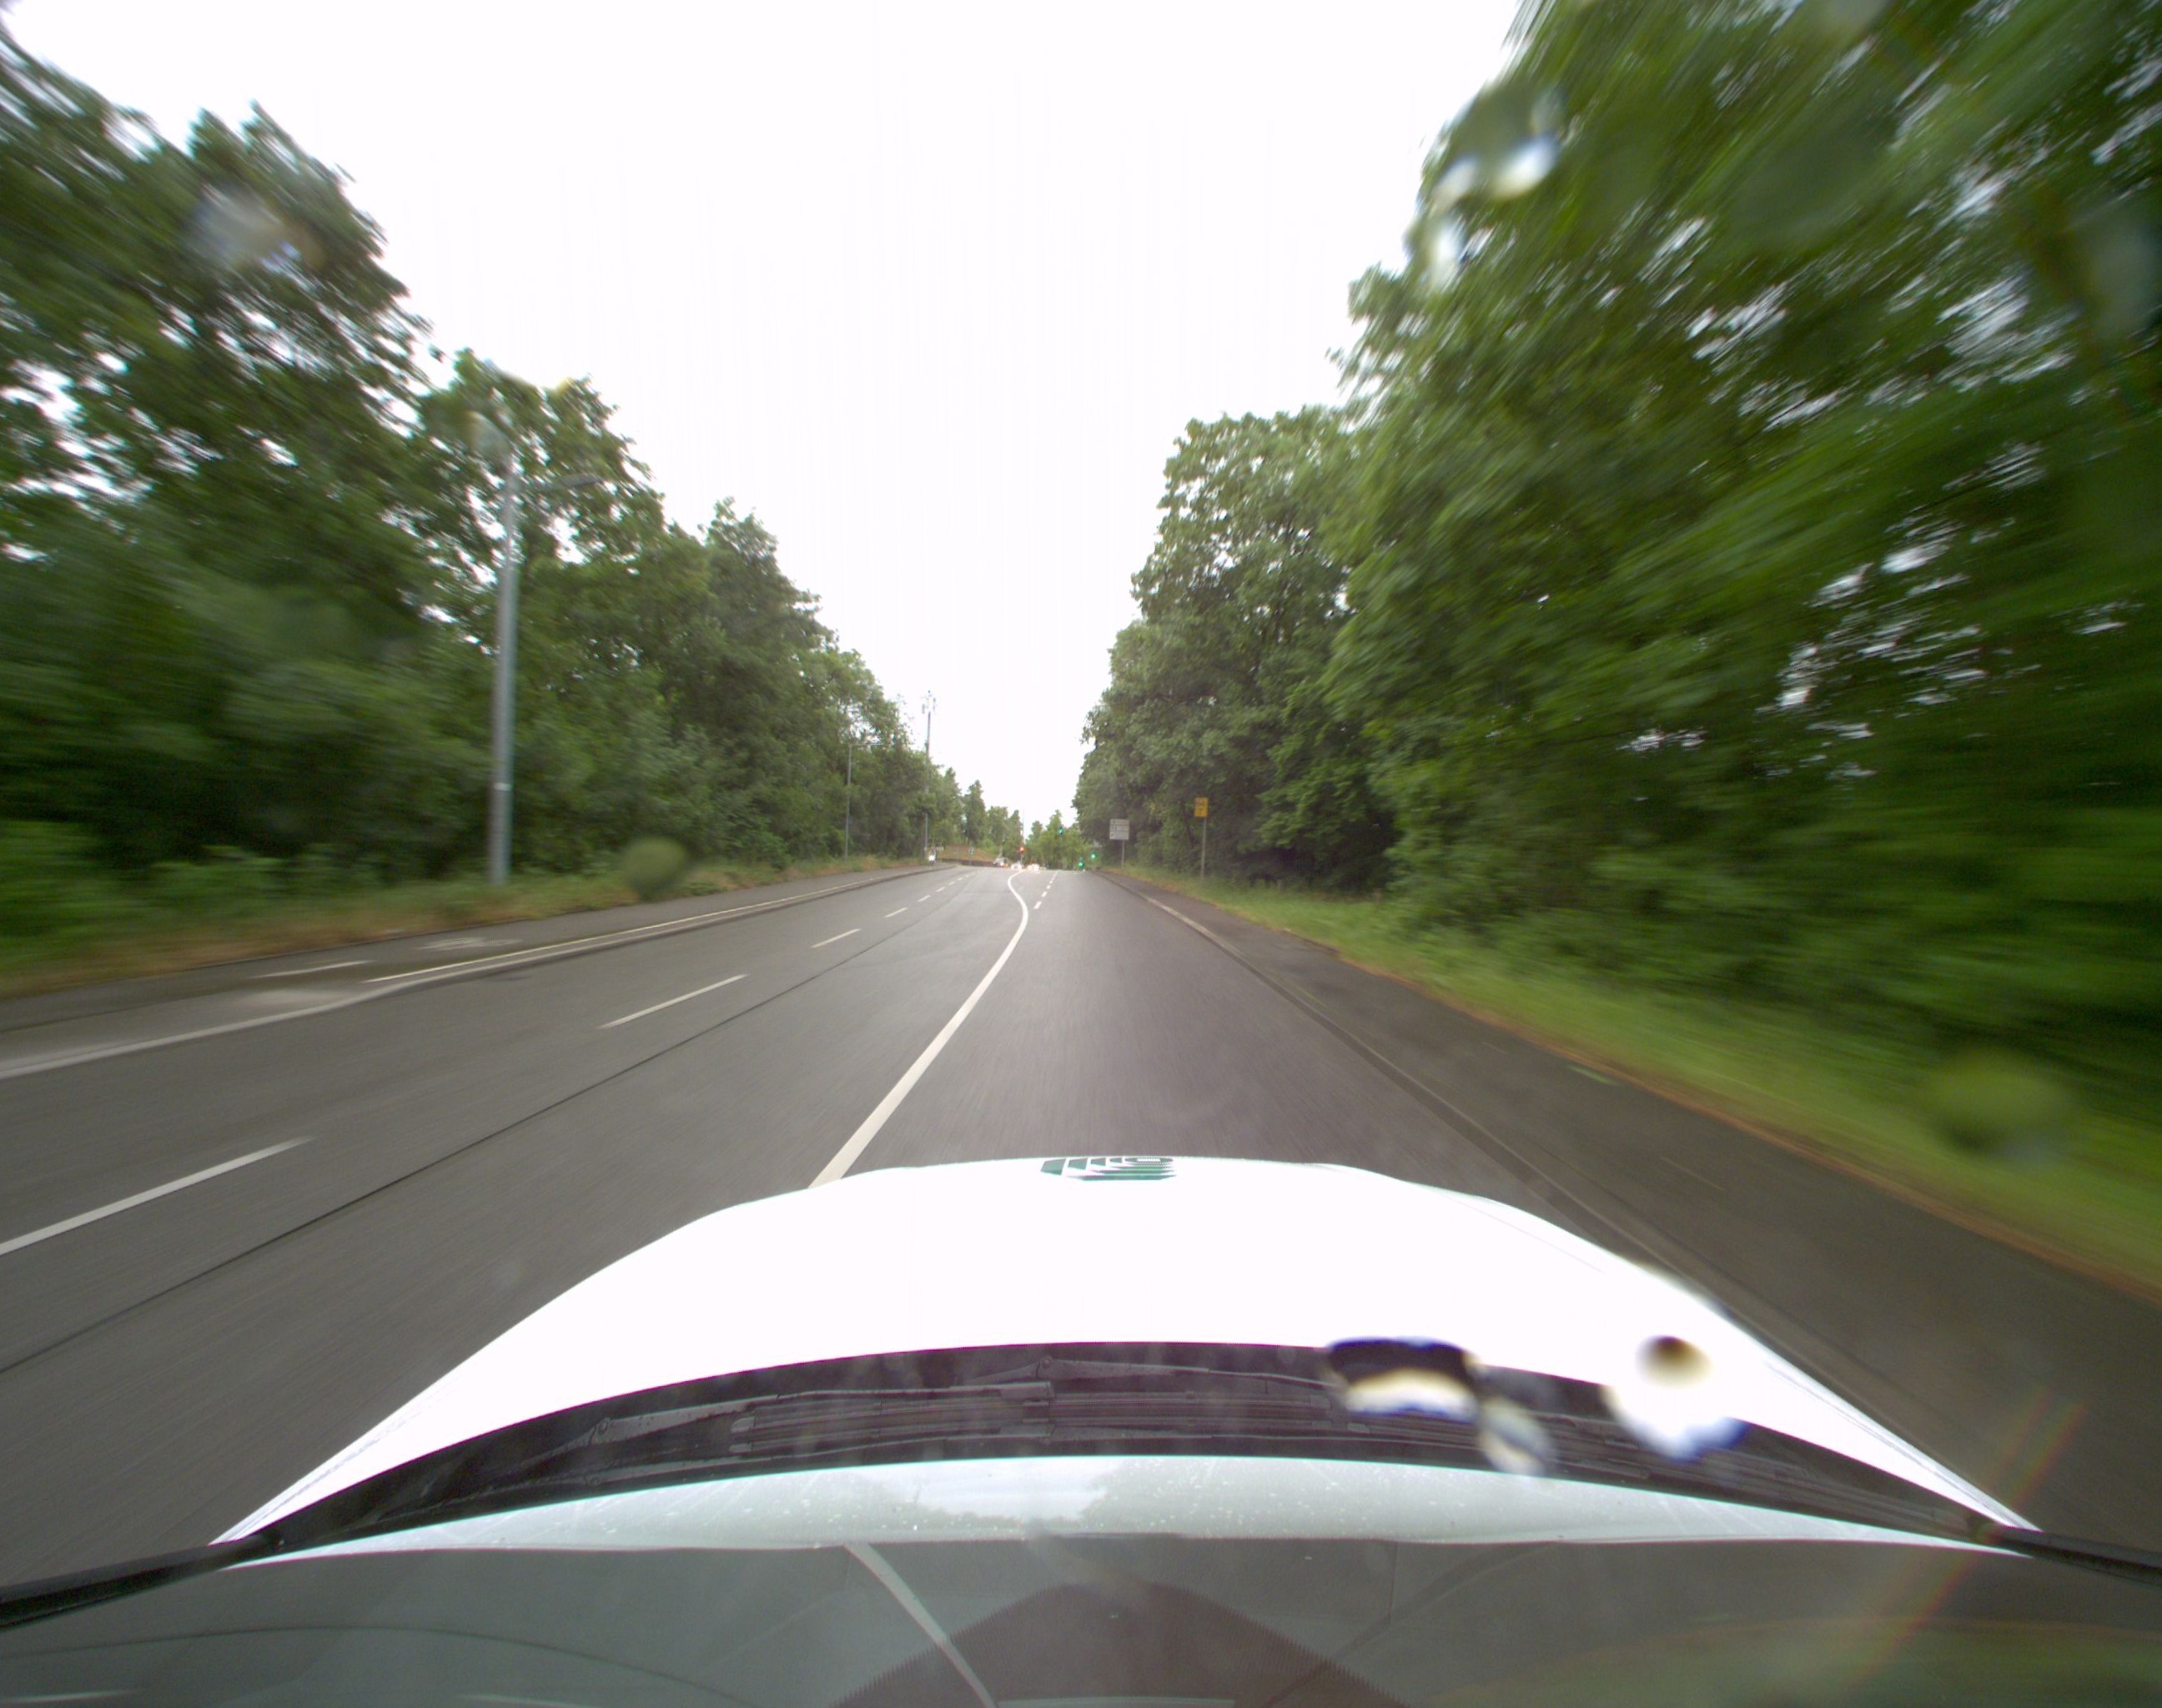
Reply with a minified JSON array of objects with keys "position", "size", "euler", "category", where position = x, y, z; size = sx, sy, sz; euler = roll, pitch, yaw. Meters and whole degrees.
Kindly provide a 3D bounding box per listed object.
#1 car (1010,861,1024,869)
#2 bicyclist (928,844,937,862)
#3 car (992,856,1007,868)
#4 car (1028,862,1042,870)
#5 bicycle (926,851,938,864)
[{"position":[-12.401,2.129,157.664],"size":[1.886,1.551,4.010],"euler":[-1,-2,10],"category":"car"},{"position":[-13.990,-0.087,76.568],"size":[0.702,1.644,0.951],"euler":[0,0,-1],"category":"bicyclist"},{"position":[-14.102,1.408,140.942],"size":[1.985,1.849,4.003],"euler":[-1,-2,4],"category":"car"},{"position":[-8.888,2.321,157.503],"size":[1.888,1.354,4.006],"euler":[-1,-2,6],"category":"car"},{"position":[-13.999,0.324,76.562],"size":[0.702,1.242,2.163],"euler":[0,0,-1],"category":"bicycle"}]
